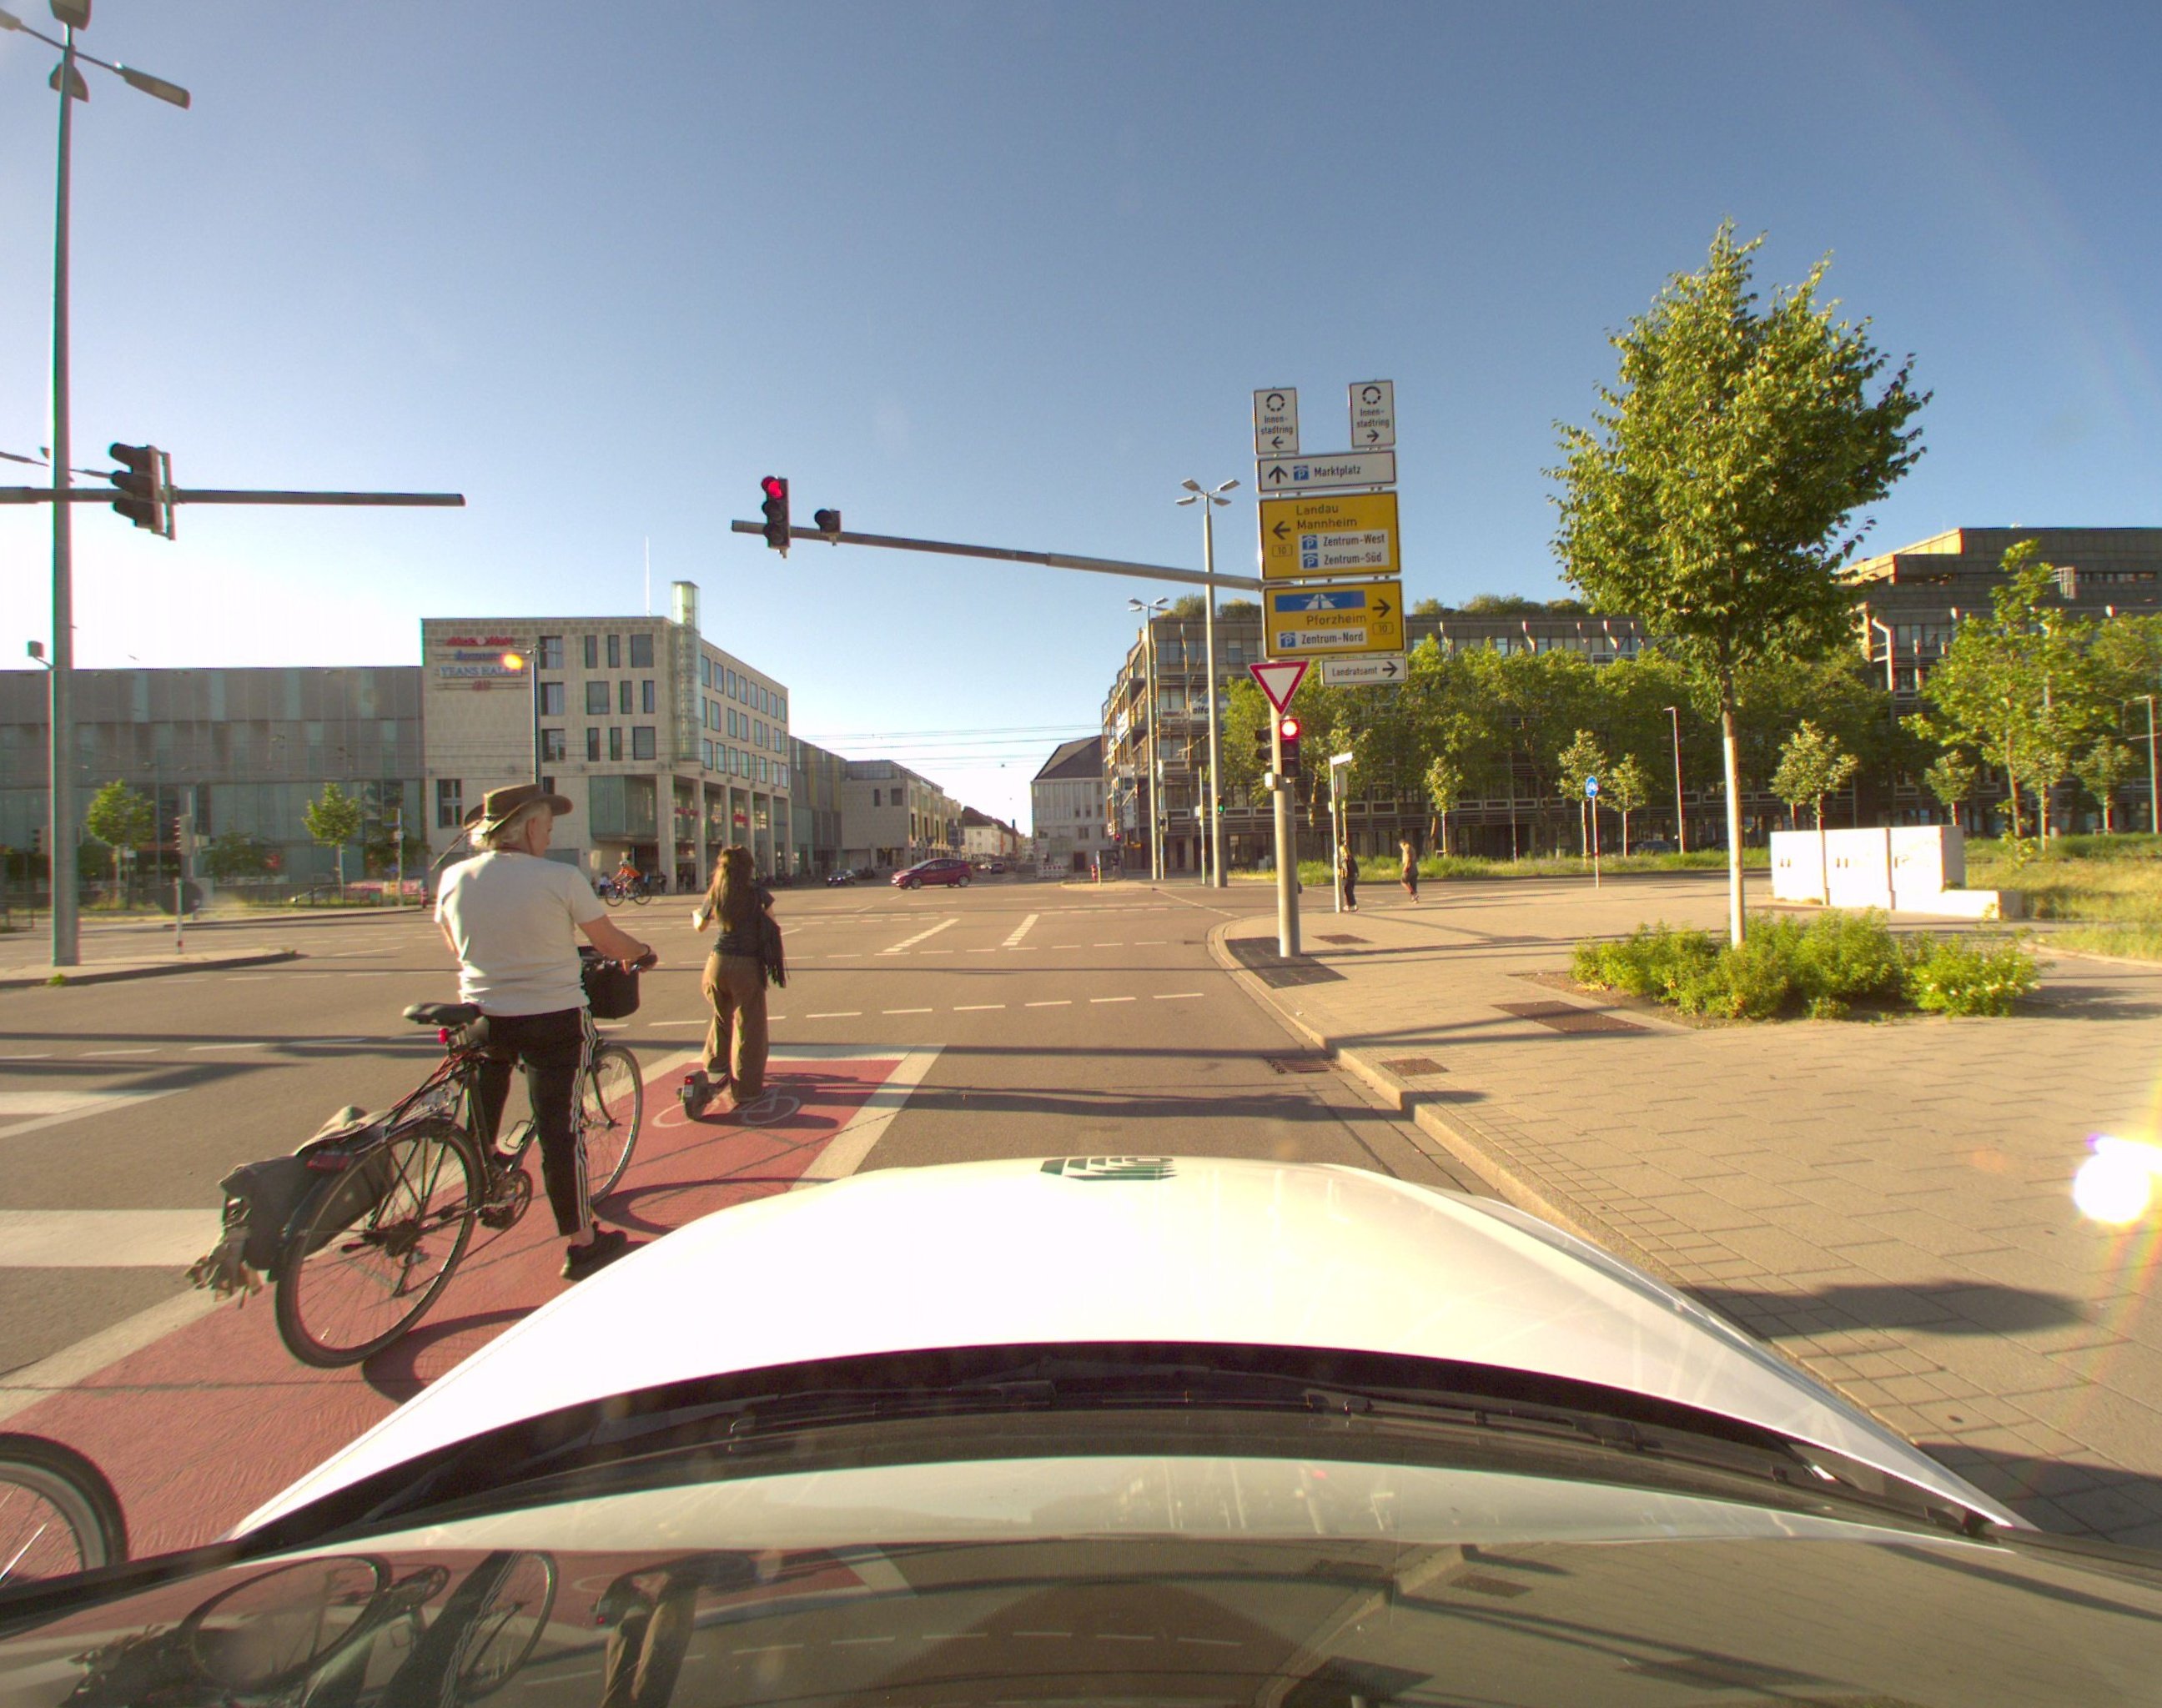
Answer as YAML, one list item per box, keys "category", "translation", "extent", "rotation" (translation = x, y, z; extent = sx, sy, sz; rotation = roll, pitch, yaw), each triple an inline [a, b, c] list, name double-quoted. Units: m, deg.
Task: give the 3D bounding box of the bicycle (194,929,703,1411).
- category: "bicycle"
  translation: [-2.150, 0.944, 3.138]
  extent: [0.483, 1.156, 1.832]
  rotation: [0, -1, 2]

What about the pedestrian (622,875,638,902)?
- category: "pedestrian"
  translation: [-31.947, 2.445, 57.693]
  extent: [0.783, 1.885, 0.716]
  rotation: [0, -1, -4]

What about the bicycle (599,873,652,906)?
- category: "bicycle"
  translation: [-16.718, 1.297, 29.926]
  extent: [1.657, 1.154, 0.491]
  rotation: [0, -1, -36]

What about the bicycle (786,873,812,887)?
- category: "bicycle"
  translation: [-27.063, 2.475, 78.133]
  extent: [2.299, 1.222, 0.612]
  rotation: [-2, 0, -1]

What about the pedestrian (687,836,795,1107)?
- category: "pedestrian"
  translation: [-2.165, 0.706, 5.244]
  extent: [0.549, 1.633, 0.569]
  rotation: [0, -1, -13]

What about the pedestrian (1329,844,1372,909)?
- category: "pedestrian"
  translation: [6.244, 0.518, 18.902]
  extent: [0.785, 1.492, 0.644]
  rotation: [0, -1, 1]

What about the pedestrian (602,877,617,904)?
- category: "pedestrian"
  translation: [-33.992, 2.619, 58.721]
  extent: [0.714, 1.885, 0.786]
  rotation: [0, -1, -6]

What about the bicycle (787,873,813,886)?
- category: "bicycle"
  translation: [-27.629, 2.496, 80.128]
  extent: [2.299, 1.222, 0.612]
  rotation: [-2, 0, -1]

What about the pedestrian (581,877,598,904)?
- category: "pedestrian"
  translation: [-35.192, 2.593, 58.356]
  extent: [0.783, 1.885, 0.716]
  rotation: [0, -1, -4]

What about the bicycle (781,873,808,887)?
- category: "bicycle"
  translation: [-26.697, 2.455, 75.965]
  extent: [2.299, 1.222, 0.612]
  rotation: [-2, 0, -1]

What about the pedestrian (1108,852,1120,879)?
- category: "pedestrian"
  translation: [2.324, 0.809, 57.413]
  extent: [0.785, 1.890, 0.644]
  rotation: [0, -1, 1]

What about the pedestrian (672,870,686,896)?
- category: "pedestrian"
  translation: [-29.106, 2.060, 58.941]
  extent: [0.801, 1.843, 0.855]
  rotation: [-2, 0, -30]

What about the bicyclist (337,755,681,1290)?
- category: "bicyclist"
  translation: [-2.058, 0.544, 3.061]
  extent: [0.658, 1.720, 0.866]
  rotation: [0, -1, 1]

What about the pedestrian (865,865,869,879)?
- category: "pedestrian"
  translation: [-26.101, 2.183, 99.357]
  extent: [0.521, 1.679, 0.580]
  rotation: [0, 0, -12]

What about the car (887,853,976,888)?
- category: "car"
  translation: [-7.320, 0.800, 40.005]
  extent: [3.913, 1.585, 1.642]
  rotation: [-2, -1, -34]

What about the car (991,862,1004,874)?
- category: "car"
  translation: [-11.137, 1.850, 108.656]
  extent: [1.735, 1.531, 3.848]
  rotation: [0, -1, -5]

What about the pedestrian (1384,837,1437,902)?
- category: "pedestrian"
  translation: [8.623, 0.403, 21.335]
  extent: [0.880, 1.665, 0.959]
  rotation: [0, -1, -16]

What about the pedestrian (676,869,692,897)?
- category: "pedestrian"
  translation: [-29.533, 2.139, 60.589]
  extent: [0.883, 2.014, 0.771]
  rotation: [0, -1, -9]

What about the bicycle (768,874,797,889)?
- category: "bicycle"
  translation: [-26.740, 2.430, 72.897]
  extent: [2.299, 1.222, 0.612]
  rotation: [-2, 0, -1]

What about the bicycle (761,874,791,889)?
- category: "bicycle"
  translation: [-26.463, 2.410, 70.653]
  extent: [2.299, 1.222, 0.612]
  rotation: [-2, 0, -1]

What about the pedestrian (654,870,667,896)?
- category: "pedestrian"
  translation: [-30.793, 2.113, 59.667]
  extent: [0.800, 1.843, 0.856]
  rotation: [-2, 0, -26]

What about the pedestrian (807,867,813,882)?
- category: "pedestrian"
  translation: [-29.838, 2.276, 89.571]
  extent: [0.553, 1.679, 0.606]
  rotation: [0, 0, -8]

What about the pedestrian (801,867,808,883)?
- category: "pedestrian"
  translation: [-30.354, 2.290, 89.365]
  extent: [0.570, 1.679, 0.614]
  rotation: [0, 0, -8]

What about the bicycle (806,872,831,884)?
- category: "bicycle"
  translation: [-27.588, 2.540, 85.583]
  extent: [2.299, 1.222, 0.612]
  rotation: [-2, 0, -1]

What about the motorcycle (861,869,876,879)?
- category: "motorcycle"
  translation: [-25.781, 2.422, 98.740]
  extent: [1.807, 1.206, 0.509]
  rotation: [0, 0, -14]

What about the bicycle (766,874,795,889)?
- category: "bicycle"
  translation: [-26.565, 2.422, 72.012]
  extent: [2.299, 1.222, 0.612]
  rotation: [-2, 0, -1]

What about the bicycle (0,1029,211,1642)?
- category: "bicycle"
  translation: [-2.424, 0.983, 0.980]
  extent: [0.645, 1.109, 1.970]
  rotation: [0, 0, -1]

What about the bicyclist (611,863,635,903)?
- category: "bicyclist"
  translation: [-16.781, 1.051, 29.859]
  extent: [0.716, 1.437, 0.491]
  rotation: [0, -1, -36]

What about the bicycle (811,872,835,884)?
- category: "bicycle"
  translation: [-27.423, 2.548, 86.648]
  extent: [2.299, 1.222, 0.612]
  rotation: [-2, 0, -1]

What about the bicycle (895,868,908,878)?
- category: "bicycle"
  translation: [-22.066, 2.305, 100.102]
  extent: [0.505, 1.206, 1.822]
  rotation: [0, 0, 31]

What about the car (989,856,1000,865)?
- category: "car"
  translation: [-17.615, 1.322, 166.058]
  extent: [1.793, 1.657, 3.997]
  rotation: [0, -1, -2]

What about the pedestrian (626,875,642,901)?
- category: "pedestrian"
  translation: [-32.513, 2.462, 59.245]
  extent: [0.783, 1.885, 0.716]
  rotation: [0, -1, -4]

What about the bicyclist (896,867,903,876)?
- category: "bicyclist"
  translation: [-22.277, 2.154, 99.753]
  extent: [0.505, 1.084, 0.629]
  rotation: [0, 0, 31]

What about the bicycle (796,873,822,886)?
- category: "bicycle"
  translation: [-27.185, 2.503, 81.344]
  extent: [2.299, 1.222, 0.612]
  rotation: [-2, 0, -1]

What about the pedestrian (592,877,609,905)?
- category: "pedestrian"
  translation: [-33.869, 2.607, 57.375]
  extent: [0.783, 1.885, 0.716]
  rotation: [0, -1, -4]

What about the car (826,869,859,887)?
- category: "car"
  translation: [-20.625, 2.045, 70.508]
  extent: [1.625, 1.342, 3.999]
  rotation: [-4, -1, 0]

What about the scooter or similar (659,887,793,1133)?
- category: "scooter or similar"
  translation: [-2.159, 0.871, 5.075]
  extent: [0.547, 1.294, 1.188]
  rotation: [0, -1, -13]

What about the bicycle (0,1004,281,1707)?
- category: "bicycle"
  translation: [-1.815, 0.898, 0.620]
  extent: [0.614, 1.218, 1.831]
  rotation: [0, 0, -1]

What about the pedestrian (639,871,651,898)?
- category: "pedestrian"
  translation: [-31.146, 2.185, 58.155]
  extent: [0.718, 1.885, 0.781]
  rotation: [0, -1, -25]

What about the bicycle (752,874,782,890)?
- category: "bicycle"
  translation: [-26.734, 2.401, 69.376]
  extent: [2.299, 1.222, 0.612]
  rotation: [-2, 0, -1]
